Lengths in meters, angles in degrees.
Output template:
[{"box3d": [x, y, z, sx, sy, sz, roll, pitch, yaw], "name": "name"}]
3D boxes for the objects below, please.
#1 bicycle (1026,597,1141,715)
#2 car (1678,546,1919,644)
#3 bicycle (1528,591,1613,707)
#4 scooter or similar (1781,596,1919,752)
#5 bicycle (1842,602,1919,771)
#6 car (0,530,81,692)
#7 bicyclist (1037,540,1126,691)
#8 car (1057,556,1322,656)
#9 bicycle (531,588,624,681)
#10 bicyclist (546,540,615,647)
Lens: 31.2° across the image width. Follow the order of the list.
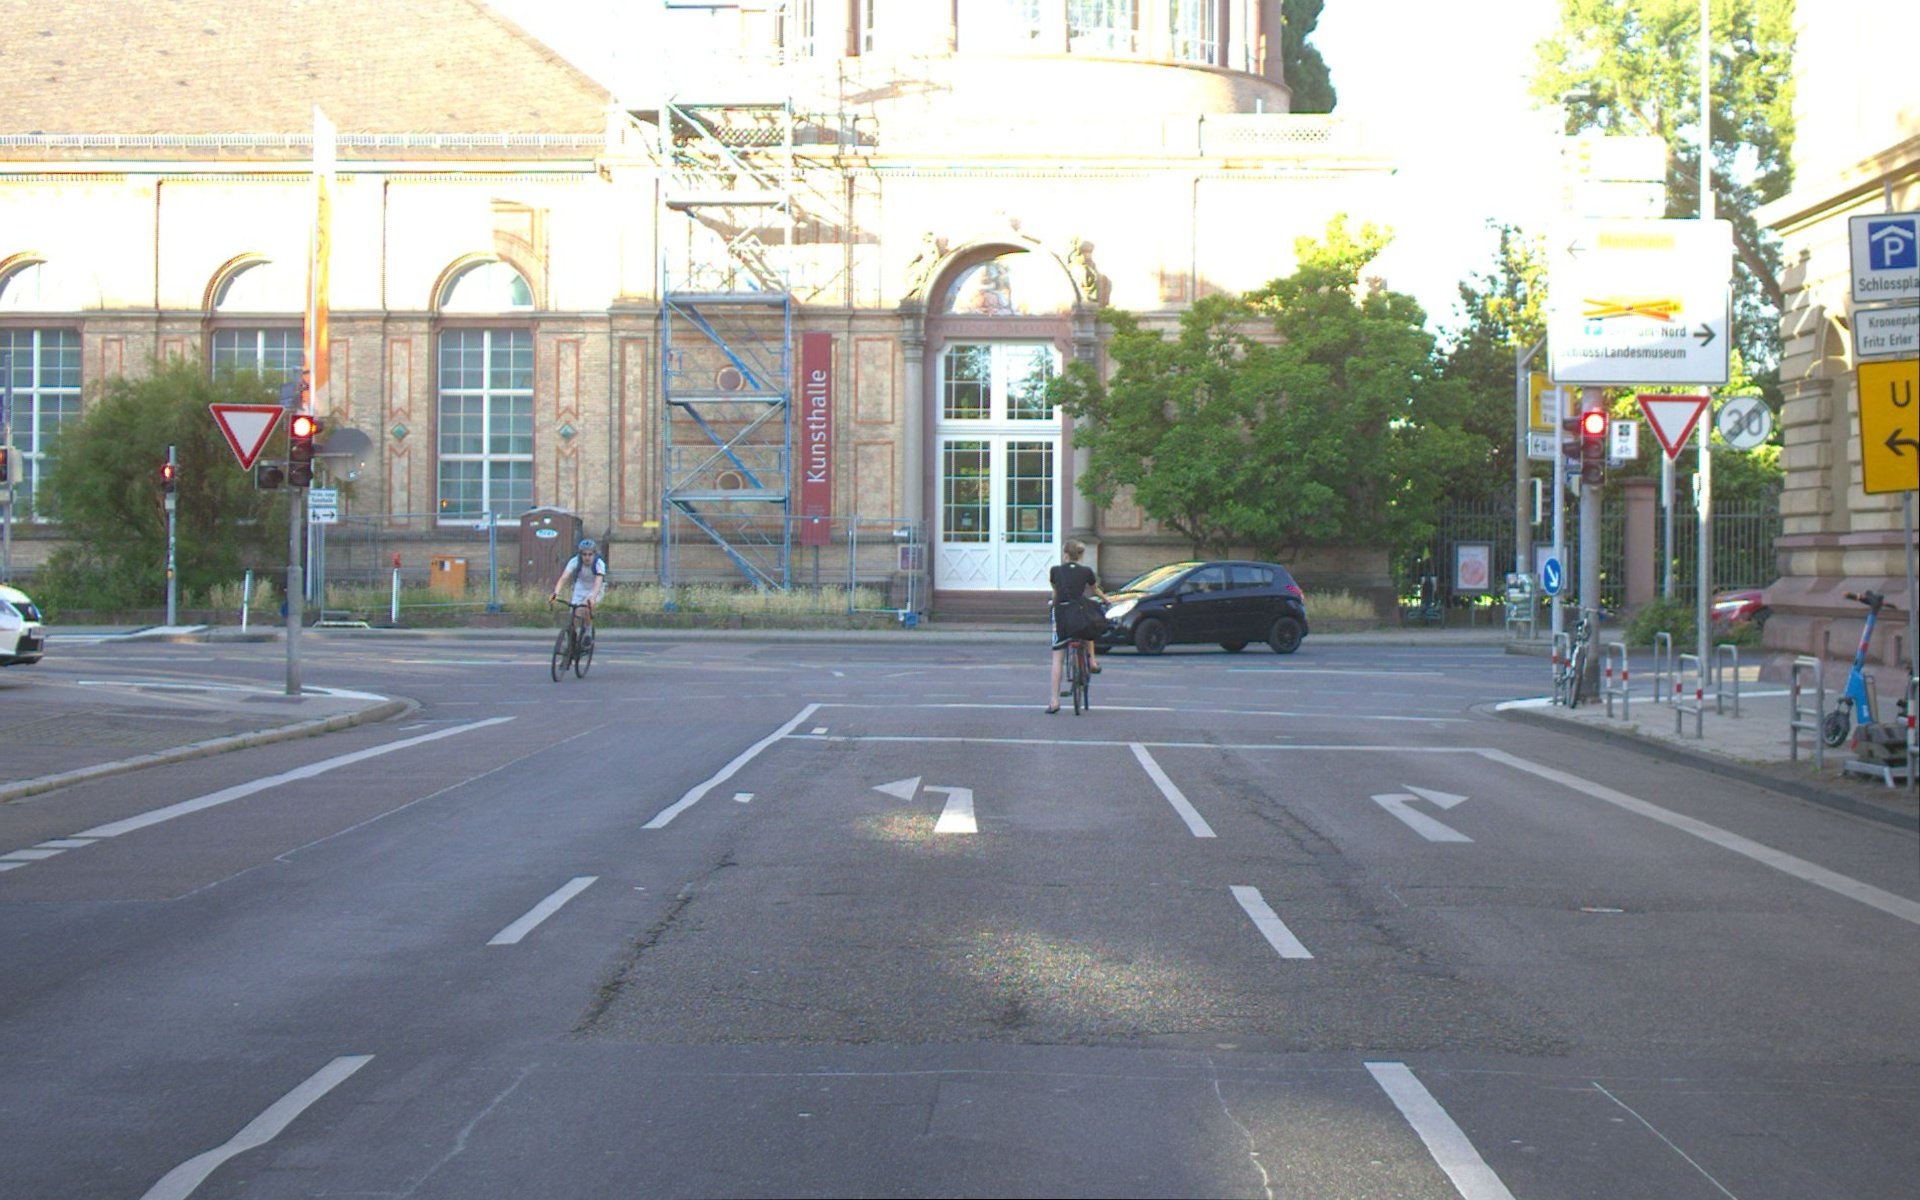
[{"box3d": [1.265, 0.558, 34.743, 0.712, 1.152, 2.067, 0, -1, 15], "name": "bicycle"}, {"box3d": [14.722, -0.107, 57.990, 4.831, 1.540, 1.837, -1, 1, 1], "name": "car"}, {"box3d": [6.417, 0.512, 36.190, 0.582, 1.184, 1.920, 0, -1, 1], "name": "bicycle"}, {"box3d": [7.031, 0.572, 26.871, 1.130, 1.191, 0.584, 0, 1, 8], "name": "scooter or similar"}, {"box3d": [7.160, 0.609, 25.293, 0.827, 1.130, 1.944, -3, 1, 1], "name": "bicycle"}, {"box3d": [-11.727, 0.037, 36.152, 4.440, 1.635, 1.942, 2, 1, 0], "name": "car"}, {"box3d": [1.224, 0.154, 34.617, 0.716, 1.497, 0.850, 0, -1, 15], "name": "bicyclist"}, {"box3d": [3.652, 0.073, 54.686, 3.840, 1.466, 1.664, -2, 2, -23], "name": "car"}, {"box3d": [-4.875, 0.441, 43.932, 0.625, 1.152, 2.051, 0, -1, 10], "name": "bicycle"}, {"box3d": [-4.855, -0.077, 44.023, 0.625, 1.360, 0.929, 0, -1, 10], "name": "bicyclist"}]
